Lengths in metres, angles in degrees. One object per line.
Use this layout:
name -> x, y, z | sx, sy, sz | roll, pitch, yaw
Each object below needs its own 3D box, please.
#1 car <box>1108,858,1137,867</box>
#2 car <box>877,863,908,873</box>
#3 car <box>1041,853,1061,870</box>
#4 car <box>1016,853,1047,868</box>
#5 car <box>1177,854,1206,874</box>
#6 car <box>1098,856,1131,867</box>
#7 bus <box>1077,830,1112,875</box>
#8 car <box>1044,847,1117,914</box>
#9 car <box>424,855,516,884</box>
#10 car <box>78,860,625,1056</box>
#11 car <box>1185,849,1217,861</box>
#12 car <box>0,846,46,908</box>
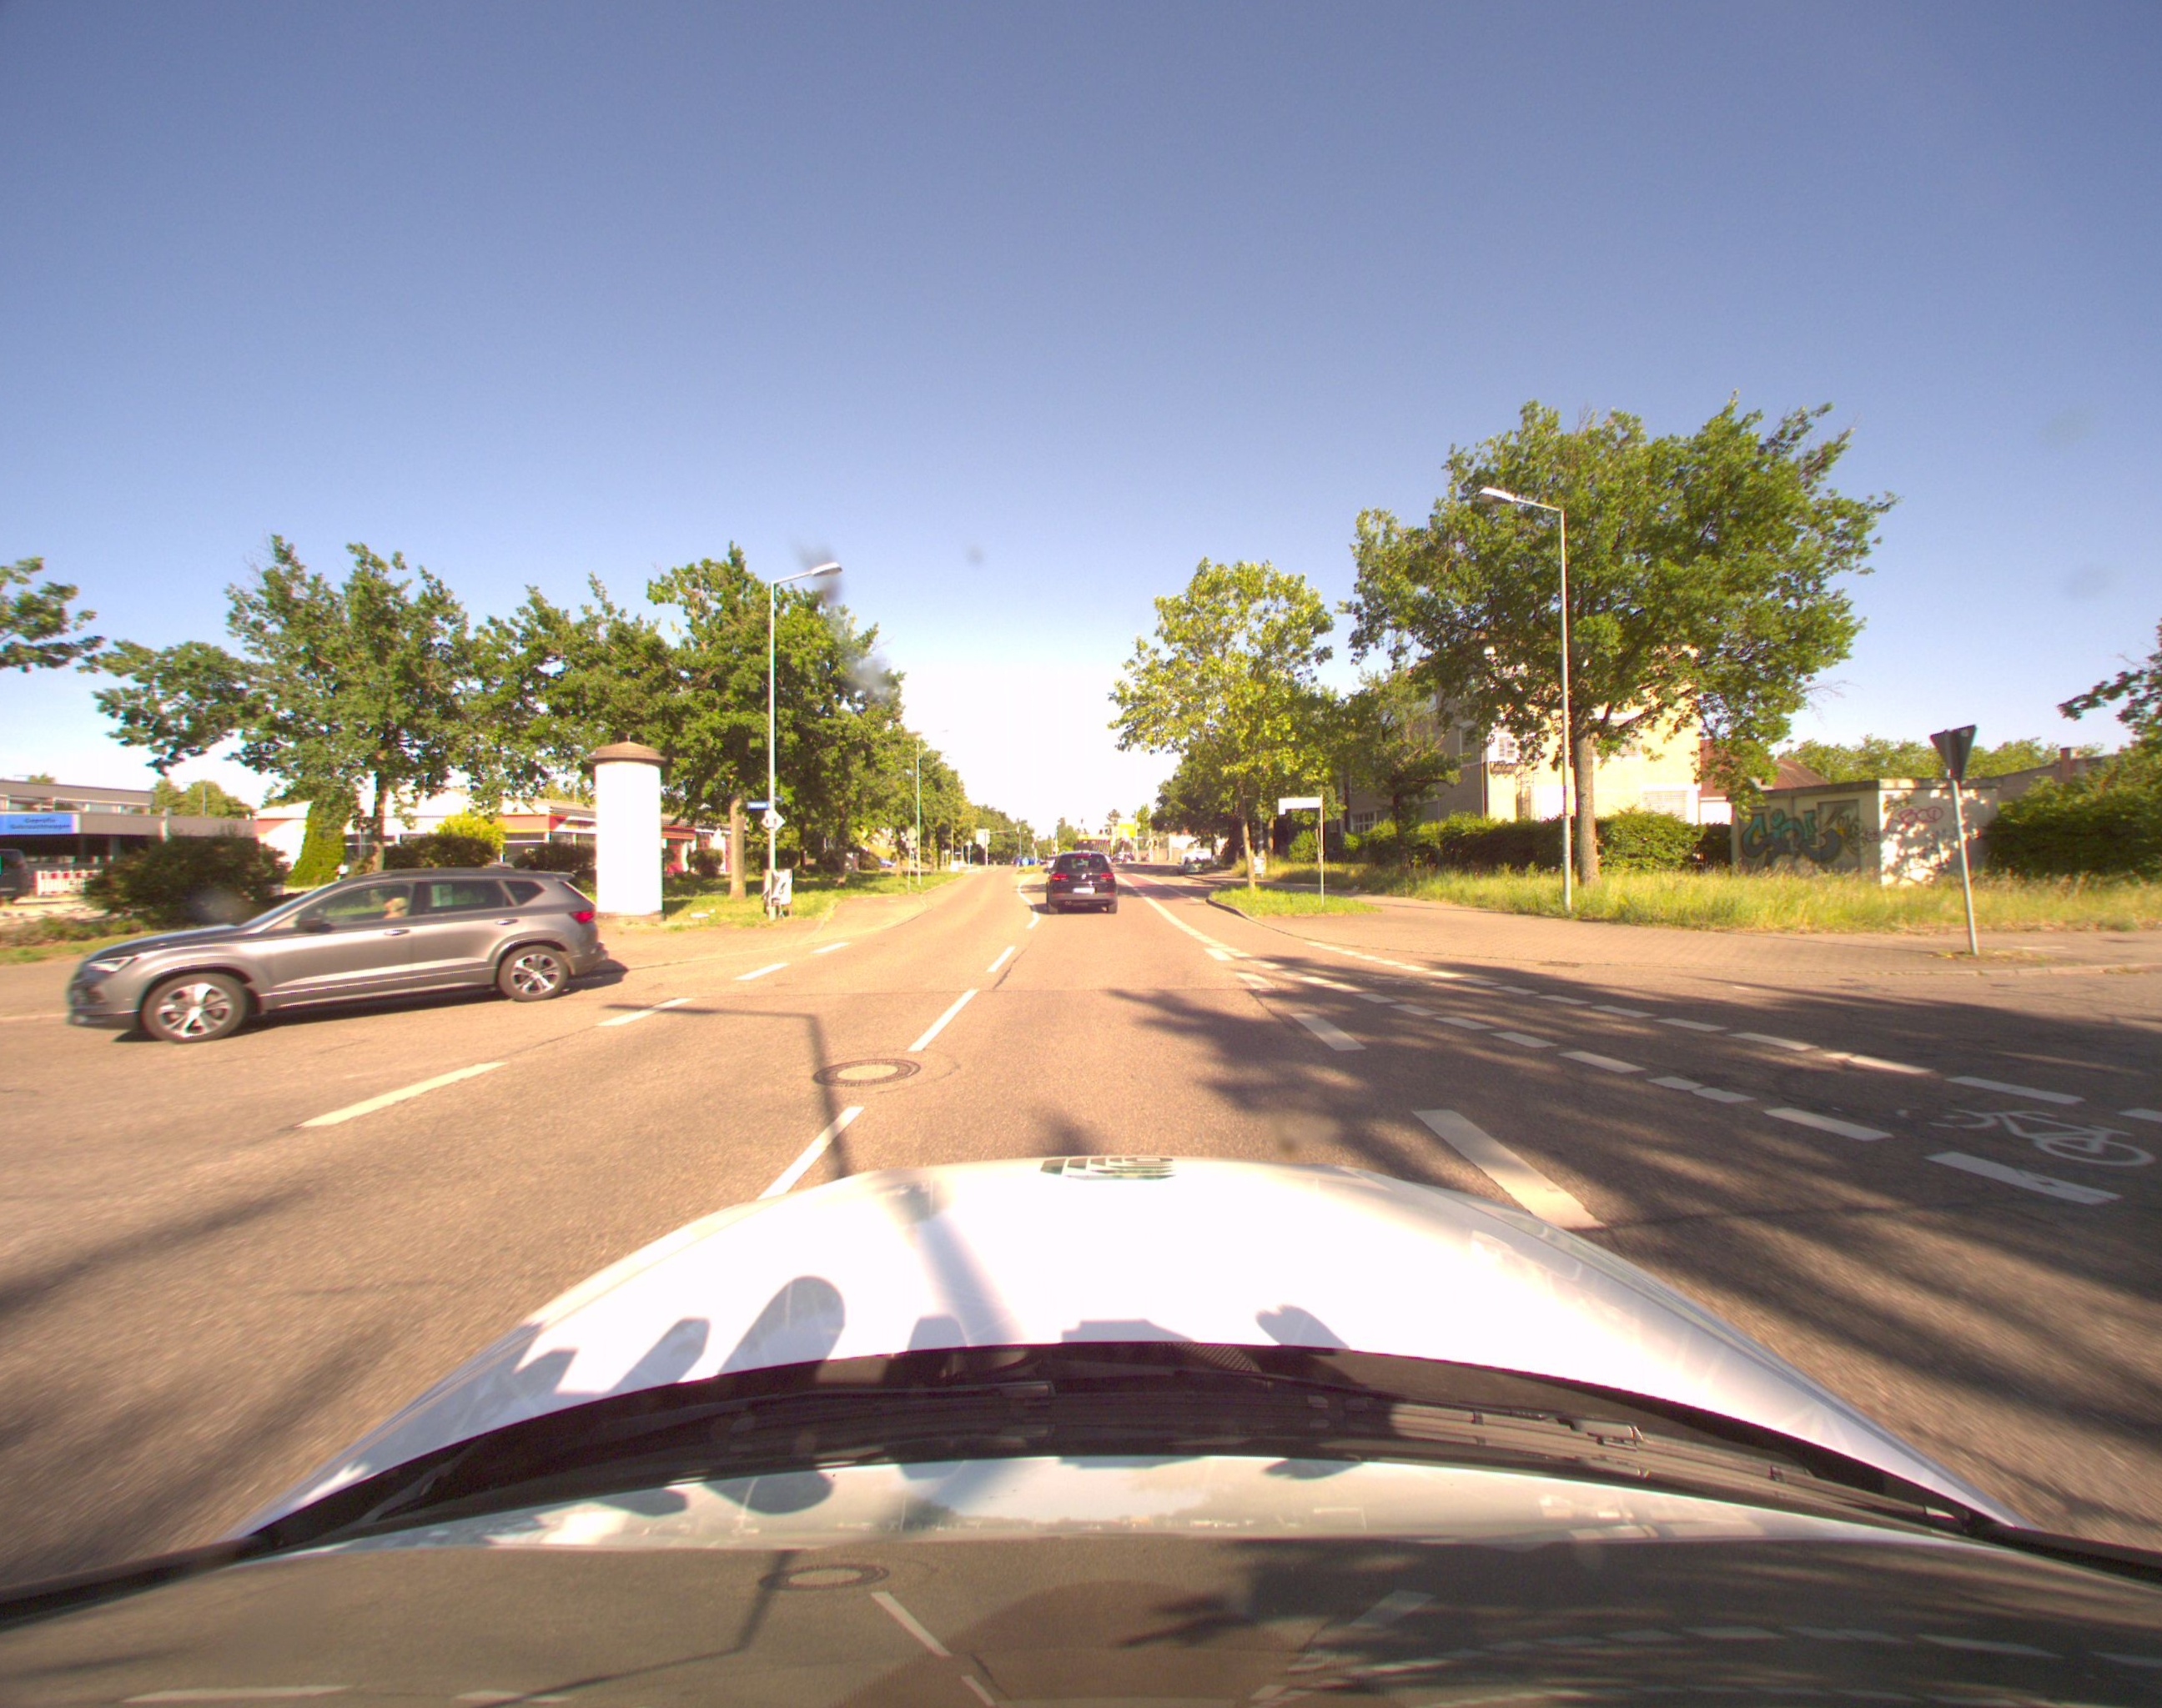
car -> 6.055, 1.249, 118.834 | 3.890, 1.340, 1.677 | 1, -1, -9
car -> -25.260, 1.894, 109.300 | 3.845, 1.385, 1.677 | 1, -1, -9
car -> -2.987, 0.718, 80.470 | 1.752, 1.620, 4.024 | -1, -1, -6
car -> -6.418, 0.837, 104.841 | 3.980, 1.880, 1.997 | 0, -1, -5
car -> 8.415, 0.762, 62.331 | 1.587, 1.428, 4.204 | -2, -1, 1
car -> 3.820, 0.867, 92.696 | 3.502, 1.302, 1.578 | 0, 0, 8
bus -> 0.999, -0.122, 66.852 | 2.588, 3.334, 11.980 | 0, 0, 0
car -> 0.060, 0.719, 22.696 | 1.814, 1.673, 4.004 | -1, -1, 2
car -> -32.501, 0.826, 43.391 | 3.591, 1.498, 1.590 | -1, -1, -6
car -> -7.879, 0.956, 9.286 | 1.737, 1.595, 4.325 | -3, -1, 44
car -> 17.695, 0.167, 120.143 | 4.376, 1.683, 1.709 | 0, -1, -5
car -> -38.768, 0.823, 27.062 | 5.399, 2.070, 2.297 | -1, 0, -5
